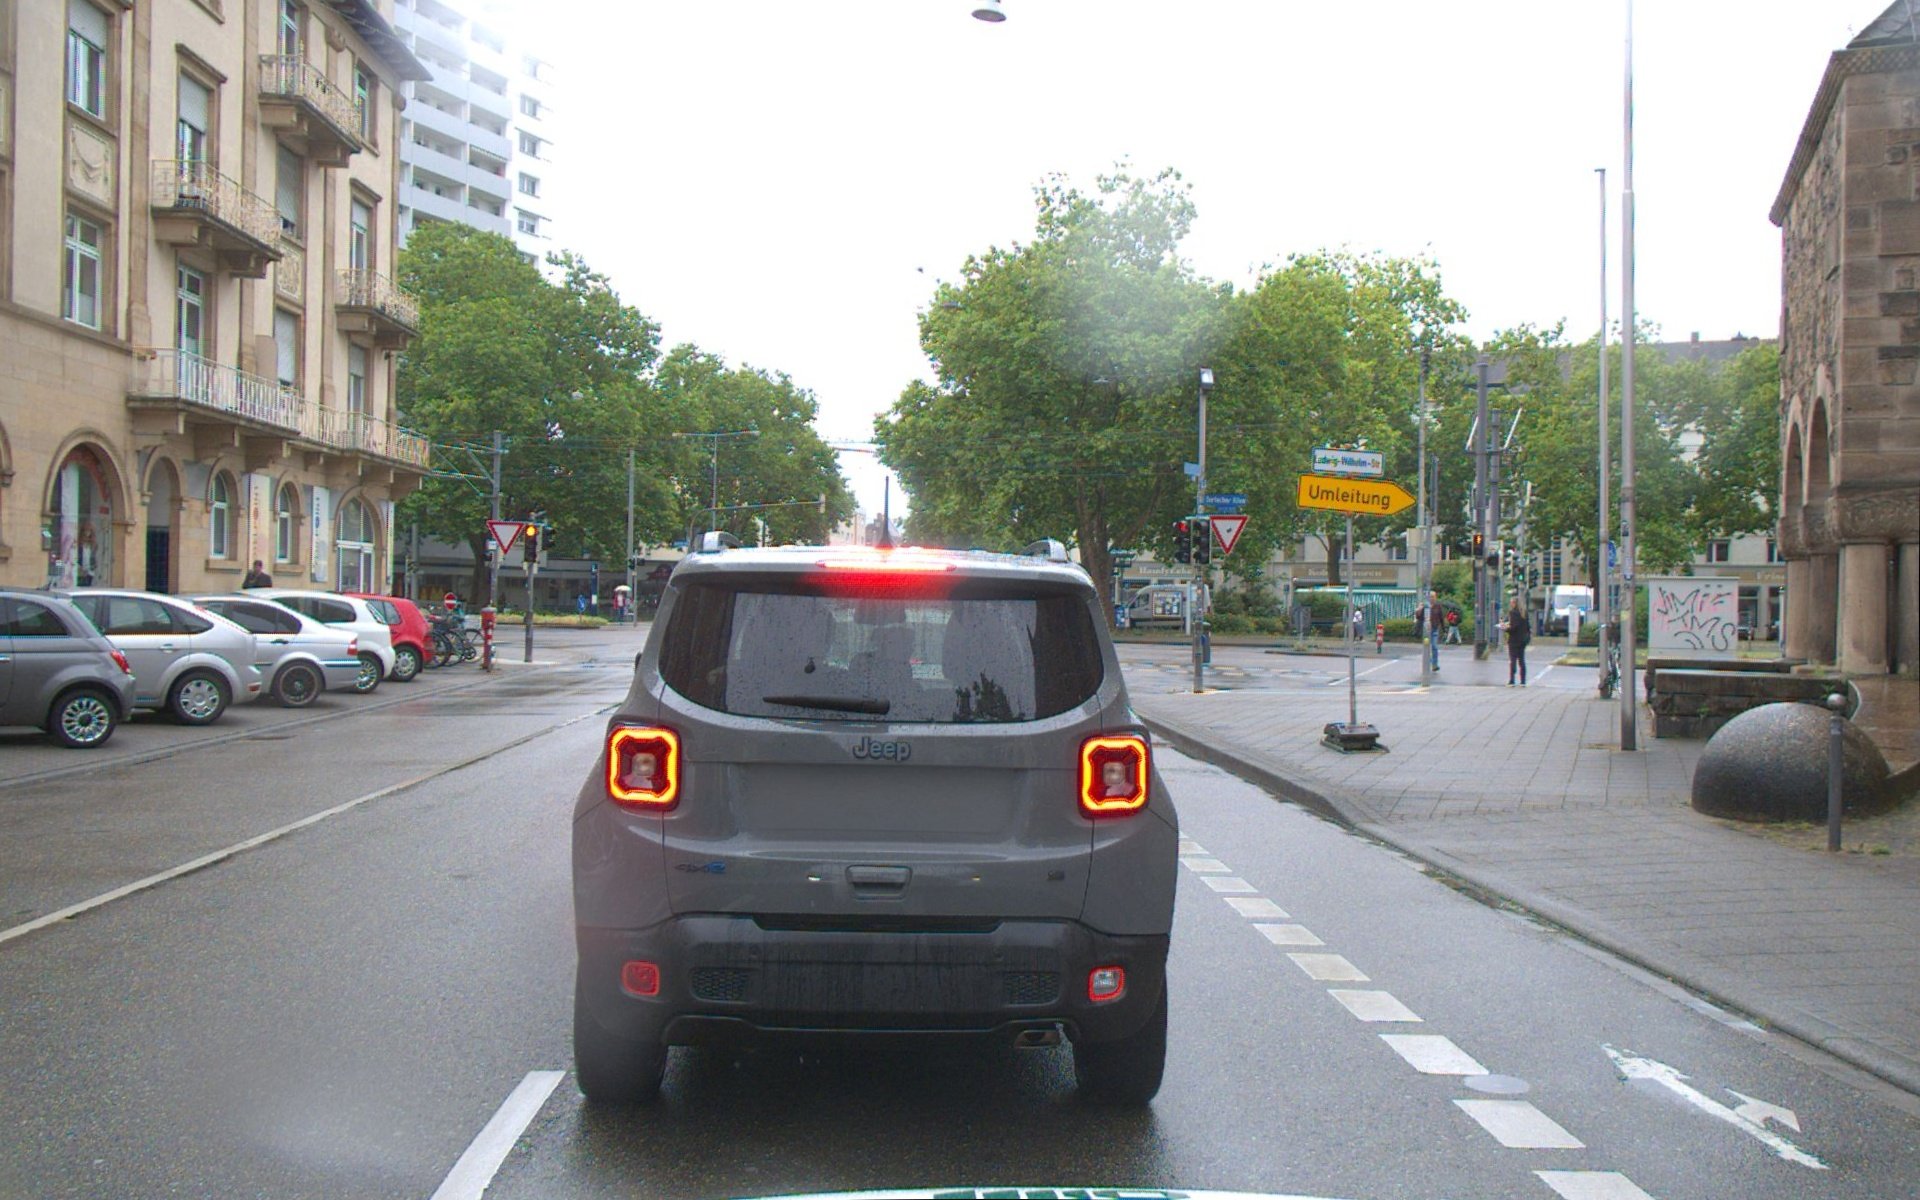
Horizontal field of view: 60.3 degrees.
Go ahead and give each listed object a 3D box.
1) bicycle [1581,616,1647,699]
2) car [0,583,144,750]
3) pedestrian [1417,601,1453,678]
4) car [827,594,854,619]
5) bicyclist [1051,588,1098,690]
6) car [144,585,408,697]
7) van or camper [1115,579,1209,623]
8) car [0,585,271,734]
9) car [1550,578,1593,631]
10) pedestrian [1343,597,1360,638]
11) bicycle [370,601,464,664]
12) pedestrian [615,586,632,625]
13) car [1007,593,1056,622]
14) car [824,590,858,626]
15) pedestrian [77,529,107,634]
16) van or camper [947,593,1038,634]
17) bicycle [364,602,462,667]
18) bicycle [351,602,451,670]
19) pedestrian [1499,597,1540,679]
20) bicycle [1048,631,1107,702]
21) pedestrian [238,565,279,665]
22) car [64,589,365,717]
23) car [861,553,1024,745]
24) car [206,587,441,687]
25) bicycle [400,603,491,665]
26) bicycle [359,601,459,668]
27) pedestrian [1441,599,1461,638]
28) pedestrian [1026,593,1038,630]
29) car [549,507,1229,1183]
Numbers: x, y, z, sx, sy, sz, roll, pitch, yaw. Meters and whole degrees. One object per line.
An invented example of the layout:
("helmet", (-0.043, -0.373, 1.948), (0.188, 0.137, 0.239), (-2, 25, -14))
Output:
("bicycle", (9.836, 0.838, 24.939), (0.322, 1.174, 2.076), (0, 0, 4))
("car", (-9.958, 0.625, 16.056), (3.372, 1.585, 1.629), (1, 0, -41))
("pedestrian", (11.220, 0.915, 39.105), (0.769, 1.790, 0.946), (0, 0, 14))
("car", (-8.446, 0.440, 116.922), (1.779, 1.700, 3.916), (1, 0, -5))
("bicyclist", (1.879, 0.634, 27.244), (0.673, 1.646, 0.883), (0, 0, -2))
("car", (-10.351, 0.581, 25.119), (3.372, 1.585, 1.681), (1, 0, -41))
("van or camper", (11.571, 0.056, 95.001), (5.149, 2.356, 2.090), (1, 0, 3))
("car", (-9.953, 0.639, 19.084), (3.372, 1.585, 1.681), (1, 0, -41))
("car", (31.222, 0.240, 84.353), (1.868, 2.600, 4.786), (0, 0, 22))
("pedestrian", (15.918, 0.715, 67.200), (0.600, 1.631, 0.494), (0, 0, 23))
("bicycle", (-11.172, 0.663, 34.063), (1.728, 1.288, 0.608), (0, 0, -3))
("pedestrian", (-16.339, 0.271, 80.290), (0.612, 1.858, 0.687), (0, 0, -29))
("car", (5.168, 0.550, 119.601), (3.363, 2.049, 1.549), (0, -1, 12))
("car", (-6.104, 0.405, 84.875), (1.688, 1.769, 3.726), (1, 0, -5))
("pedestrian", (-15.357, -0.326, 29.265), (0.359, 1.854, 0.347), (0, -1, -4))
("van or camper", (2.448, 1.009, 124.797), (6.395, 2.963, 2.493), (0, 0, 24))
("bicycle", (-10.916, 0.682, 33.039), (1.774, 1.288, 0.498), (0, 0, -3))
("bicycle", (-10.747, 0.684, 31.812), (1.728, 1.288, 0.522), (0, 0, -3))
("pedestrian", (11.557, 0.768, 34.168), (0.767, 1.674, 0.655), (0, 0, 23))
("bicycle", (1.907, 1.060, 27.170), (0.678, 1.039, 2.657), (0, 0, -2))
("pedestrian", (-14.596, 0.304, 34.409), (0.556, 2.049, 0.654), (1, 0, -1))
("car", (-9.998, 0.659, 22.267), (3.372, 1.585, 1.681), (1, 0, -41))
("car", (-0.235, 0.521, 19.804), (1.734, 2.049, 3.999), (1, 0, -1))
("car", (-10.738, 0.600, 27.980), (3.372, 1.585, 1.681), (1, 0, -41))
("bicycle", (-10.868, 0.710, 34.947), (1.728, 1.288, 0.608), (0, 0, -3))
("bicycle", (-10.775, 0.675, 32.358), (1.774, 1.288, 0.498), (0, 0, -3))
("pedestrian", (19.866, 0.752, 66.916), (0.660, 1.581, 0.761), (0, -2, 27))
("pedestrian", (4.034, 0.653, 92.663), (0.637, 2.049, 0.483), (0, 0, 11))
("car", (-0.240, 0.618, 6.179), (1.739, 1.716, 3.846), (0, 0, -2))
